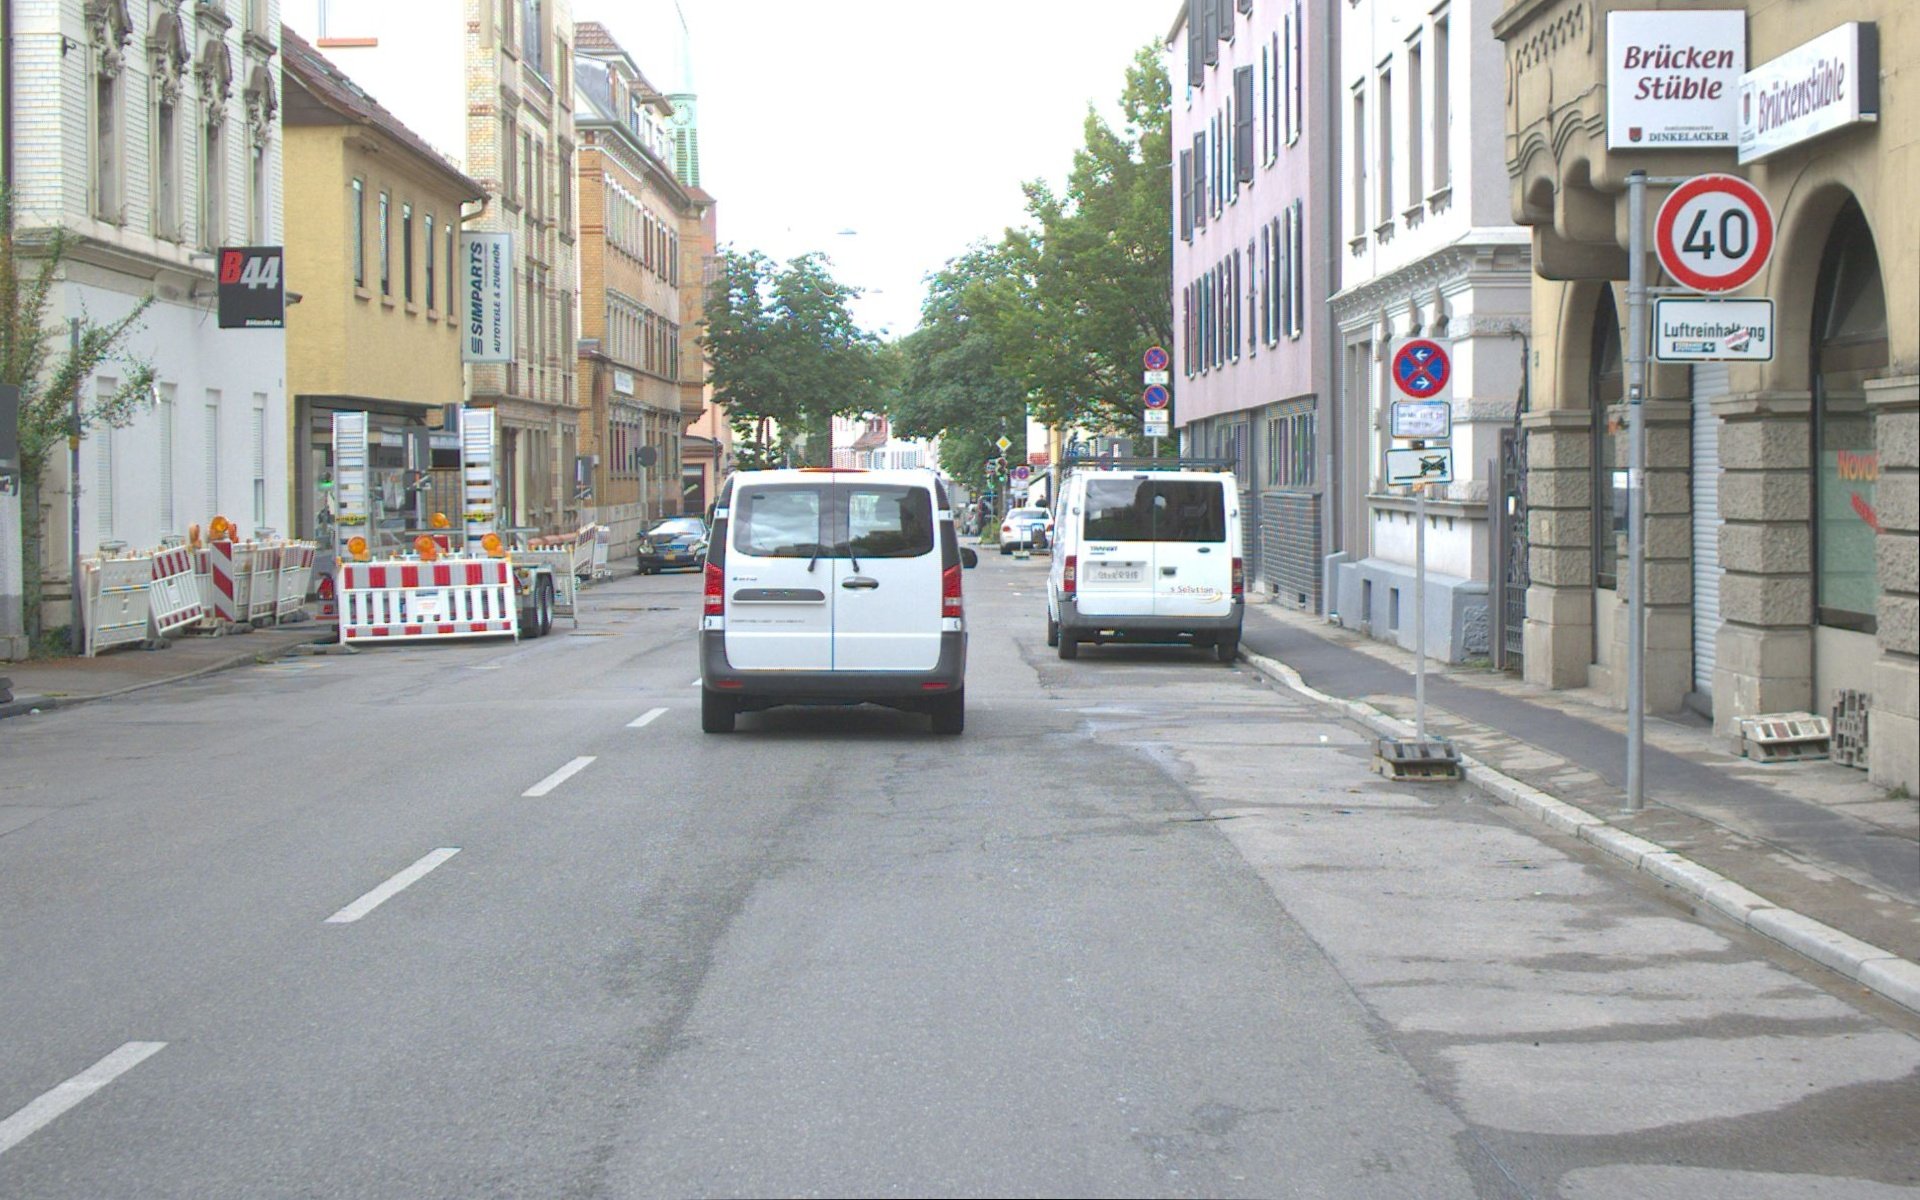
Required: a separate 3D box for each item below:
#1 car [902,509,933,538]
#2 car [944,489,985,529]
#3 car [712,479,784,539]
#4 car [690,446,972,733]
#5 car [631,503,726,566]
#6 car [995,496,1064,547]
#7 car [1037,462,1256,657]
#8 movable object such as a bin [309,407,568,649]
[{"bbox_3d":[-2.502,-4.491,203.236,1.754,1.667,3.669,-1,1,1],"label":"car"},{"bbox_3d":[0.244,-4.748,180.205,1.993,2.007,4.000,-1,1,2],"label":"car"},{"bbox_3d":[-6.690,-2.895,108.877,1.993,1.735,4.001,3,2,-1],"label":"car"},{"bbox_3d":[-1.032,-0.099,25.650,1.891,1.922,4.646,-1,1,-4],"label":"car"},{"bbox_3d":[-6.870,-1.624,84.093,1.993,1.437,4.001,-2,2,-1],"label":"car"},{"bbox_3d":[2.170,-2.498,108.869,1.993,1.480,4.001,3,2,-1],"label":"car"},{"bbox_3d":[1.994,-0.492,38.209,2.128,1.998,4.926,1,2,0],"label":"car"},{"bbox_3d":[-6.533,-0.941,43.648,2.537,2.815,4.539,-2,2,-1],"label":"movable object such as a bin"}]
